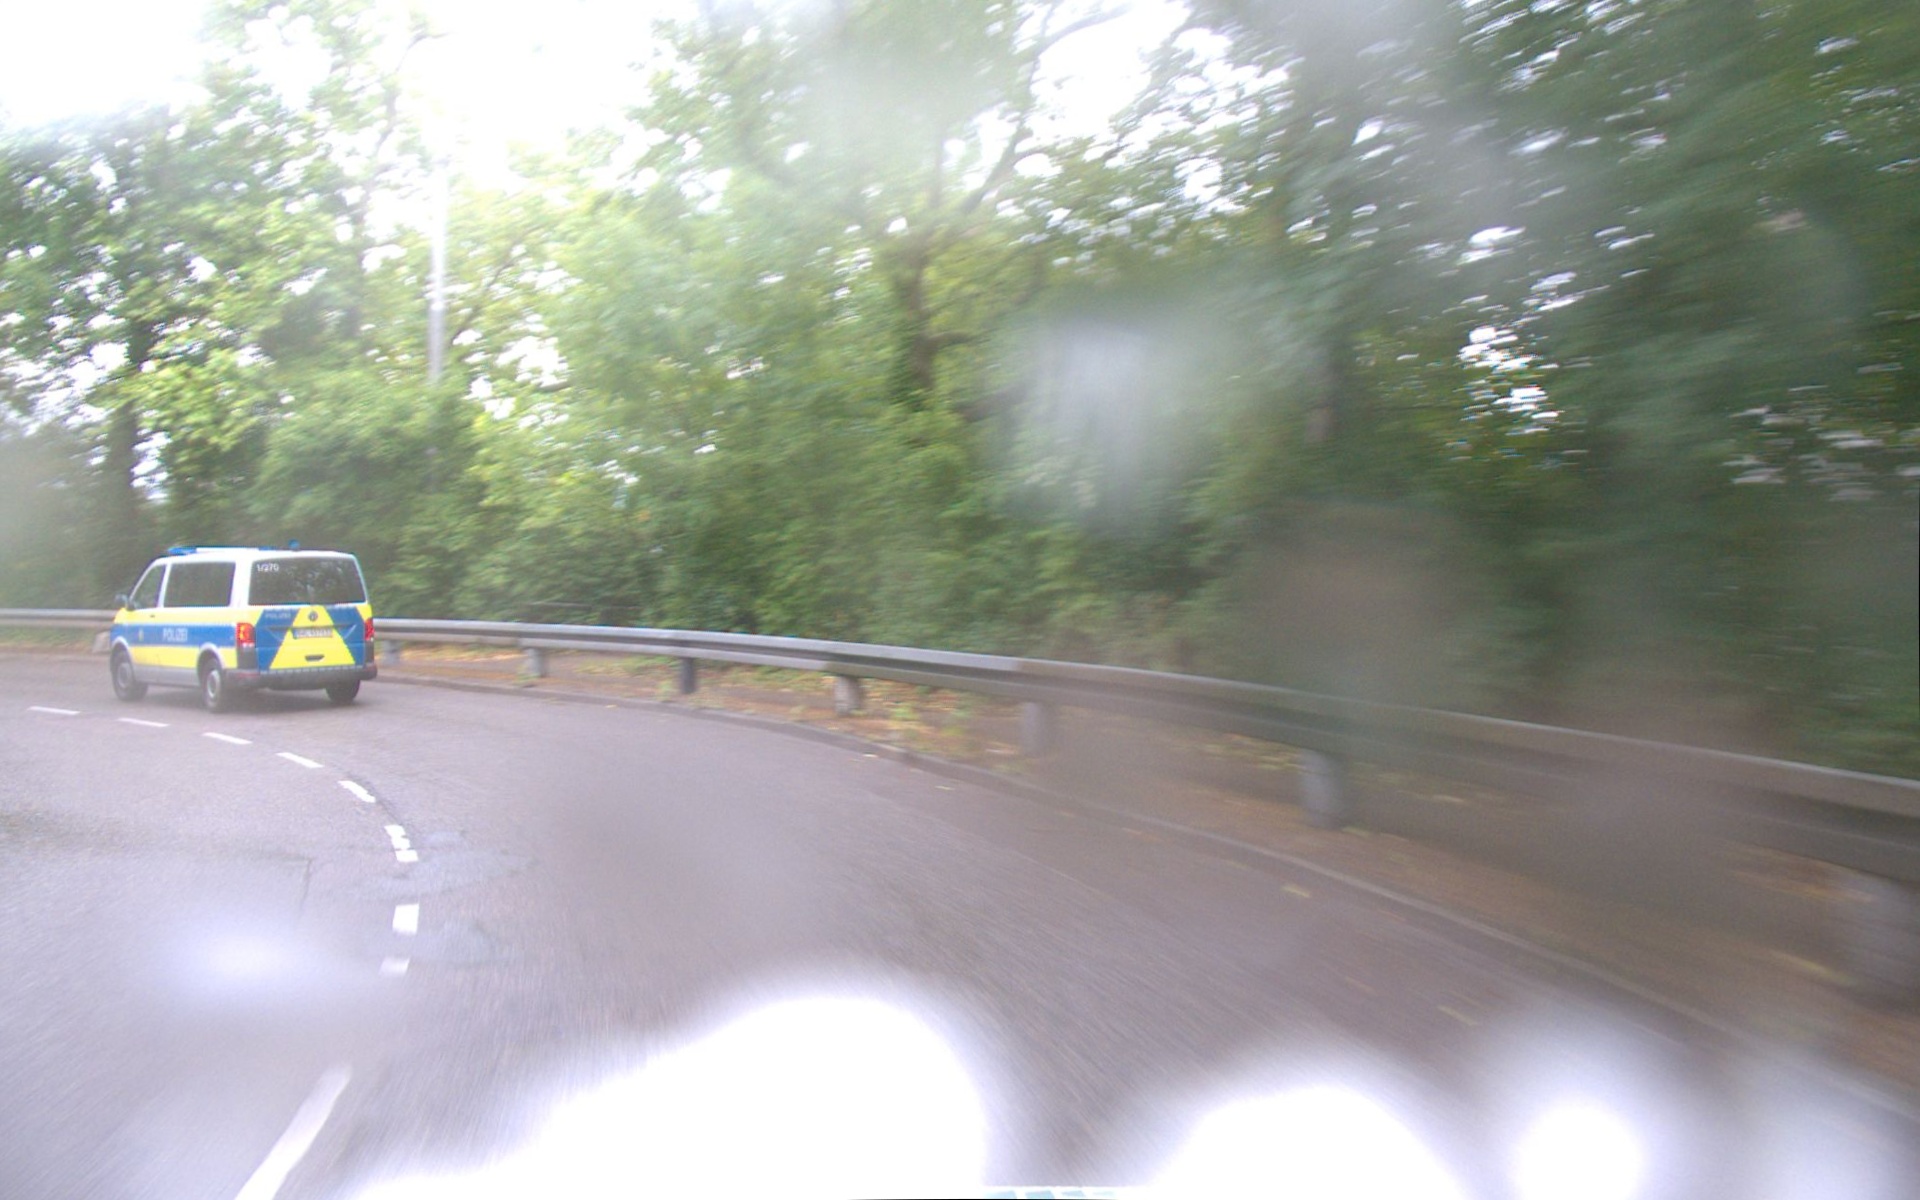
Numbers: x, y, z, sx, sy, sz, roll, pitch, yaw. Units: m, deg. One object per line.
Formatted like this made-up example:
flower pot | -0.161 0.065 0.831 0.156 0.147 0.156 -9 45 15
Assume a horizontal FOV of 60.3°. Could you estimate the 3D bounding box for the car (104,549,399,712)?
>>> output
car | -9.498 0.372 22.001 4.491 1.926 1.987 -1 1 44
